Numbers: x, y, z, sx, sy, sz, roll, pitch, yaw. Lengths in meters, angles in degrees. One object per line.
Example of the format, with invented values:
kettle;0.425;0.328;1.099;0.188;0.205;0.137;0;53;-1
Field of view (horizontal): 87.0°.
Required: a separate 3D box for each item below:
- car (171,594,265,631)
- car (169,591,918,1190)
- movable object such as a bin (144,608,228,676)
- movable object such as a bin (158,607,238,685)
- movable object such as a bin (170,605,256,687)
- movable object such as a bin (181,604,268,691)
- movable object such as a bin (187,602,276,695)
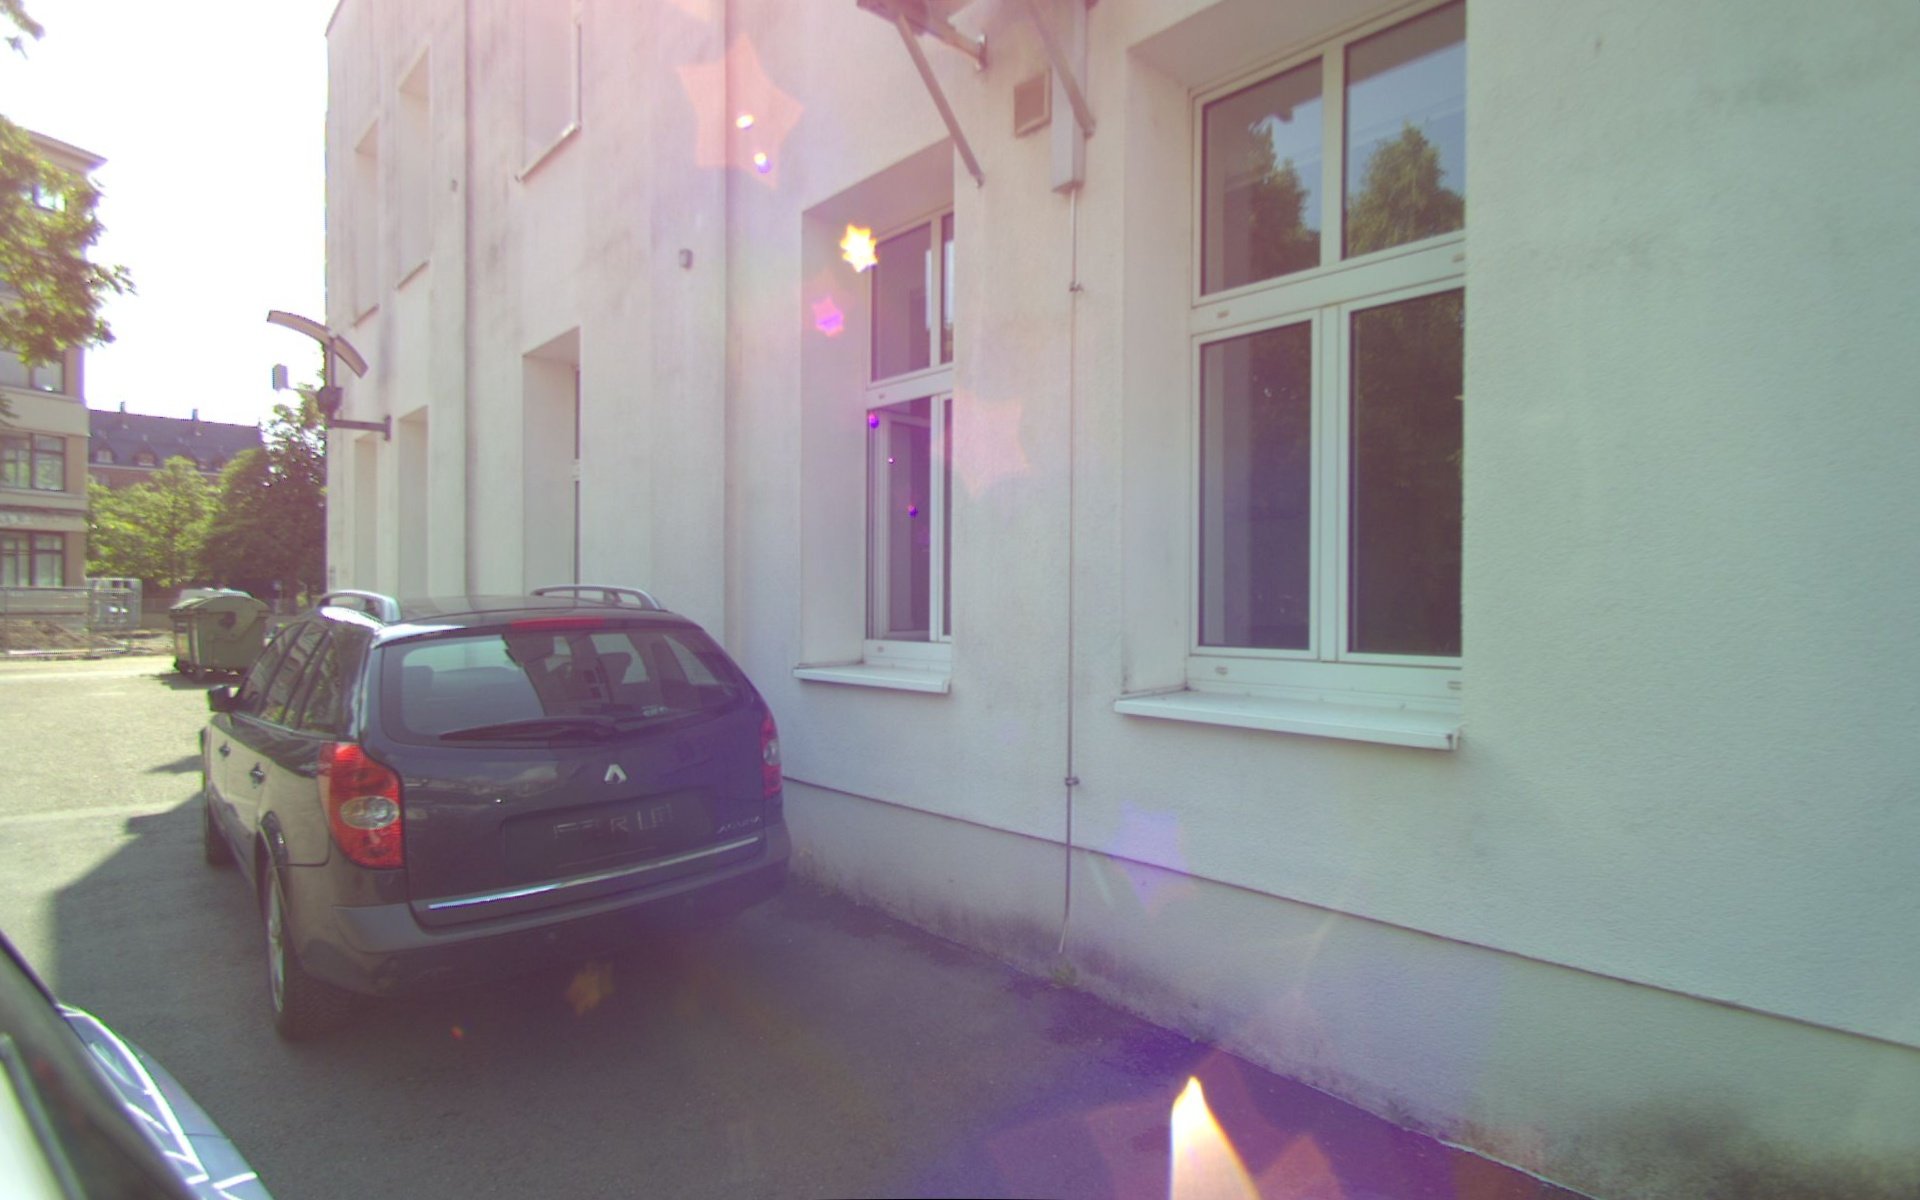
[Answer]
car;-44.311;0.753;60.463;5.271;2.029;1.986;2;-1;21
car;-2.305;0.700;4.738;1.857;1.453;4.346;-1;1;-43
movable object such as a bin;-17.700;0.964;23.180;1.228;1.493;1.300;0;-3;-23
movable object such as a bin;-15.253;0.912;20.254;1.343;1.463;1.087;-4;-2;44
movable object such as a bin;-14.247;0.855;19.298;1.234;1.462;1.087;-2;0;43
movable object such as a bin;-13.289;0.848;18.278;1.208;1.462;1.285;-2;-2;-38
movable object such as a bin;-12.426;0.804;17.255;1.086;1.462;1.345;-2;0;-41
